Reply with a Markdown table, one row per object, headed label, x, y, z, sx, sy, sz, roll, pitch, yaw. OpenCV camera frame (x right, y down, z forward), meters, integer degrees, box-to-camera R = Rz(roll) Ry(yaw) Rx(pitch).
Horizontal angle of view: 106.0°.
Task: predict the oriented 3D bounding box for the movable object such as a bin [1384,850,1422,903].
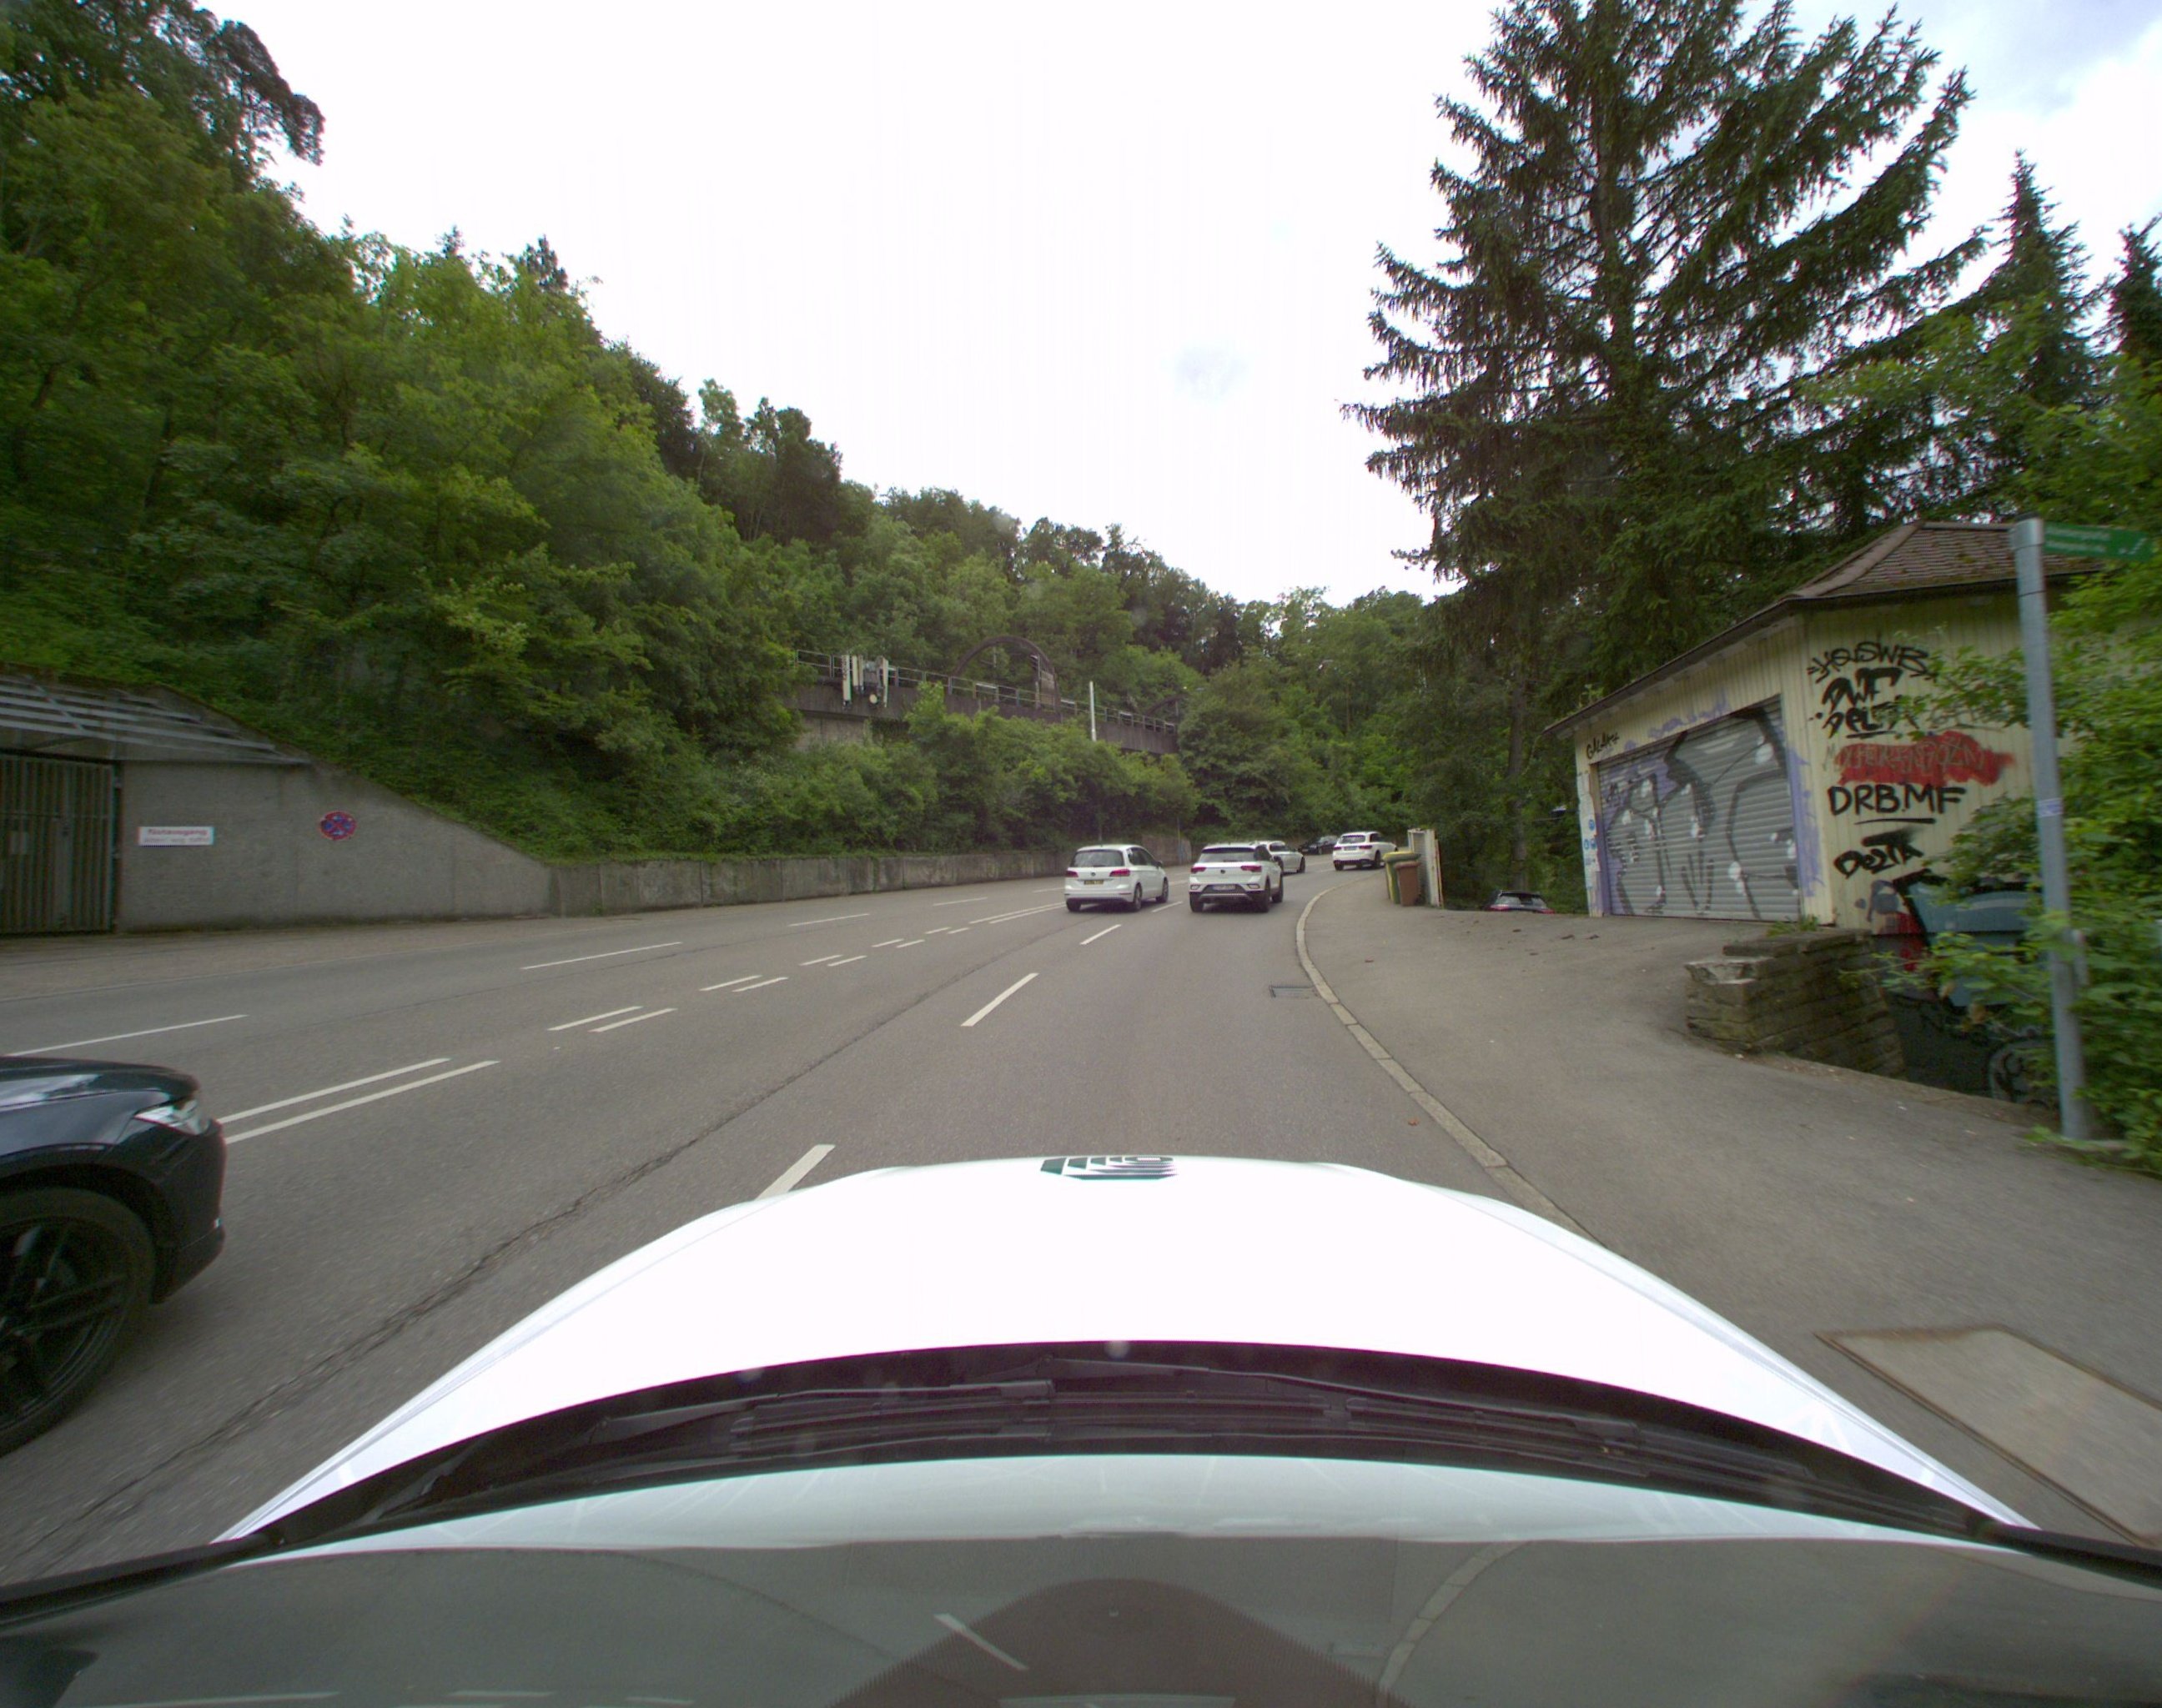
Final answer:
| label | x | y | z | sx | sy | sz | roll | pitch | yaw |
| --- | --- | --- | --- | --- | --- | --- | --- | --- | --- |
| movable object such as a bin | 6.939 | 0.485 | 17.549 | 0.599 | 1.060 | 0.481 | -6 | 1 | 12 |

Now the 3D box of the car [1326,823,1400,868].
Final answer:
| label | x | y | z | sx | sy | sz | roll | pitch | yaw |
| --- | --- | --- | --- | --- | --- | --- | --- | --- | --- |
| car | 12.588 | -0.299 | 36.212 | 1.974 | 1.843 | 4.176 | -1 | -2 | 35 |

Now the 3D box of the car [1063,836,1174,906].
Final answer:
| label | x | y | z | sx | sy | sz | roll | pitch | yaw |
| --- | --- | --- | --- | --- | --- | --- | --- | --- | --- |
| car | 1.067 | 0.471 | 20.550 | 1.706 | 1.555 | 4.294 | 0 | -2 | 18 |

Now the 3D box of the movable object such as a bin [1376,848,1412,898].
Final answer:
| label | x | y | z | sx | sy | sz | roll | pitch | yaw |
| --- | --- | --- | --- | --- | --- | --- | --- | --- | --- |
| movable object such as a bin | 7.161 | 0.428 | 18.651 | 0.599 | 1.060 | 0.481 | -6 | 1 | 12 |

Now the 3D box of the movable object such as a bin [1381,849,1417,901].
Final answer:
| label | x | y | z | sx | sy | sz | roll | pitch | yaw |
| --- | --- | --- | --- | --- | --- | --- | --- | --- | --- |
| movable object such as a bin | 7.069 | 0.467 | 18.113 | 0.599 | 1.060 | 0.481 | -6 | 1 | 12 |

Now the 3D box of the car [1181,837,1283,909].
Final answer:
| label | x | y | z | sx | sy | sz | roll | pitch | yaw |
| --- | --- | --- | --- | --- | --- | --- | --- | --- | --- |
| car | 3.747 | 0.483 | 19.678 | 1.799 | 1.539 | 4.027 | -1 | -2 | 19 |

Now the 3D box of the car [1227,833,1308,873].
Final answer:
| label | x | y | z | sx | sy | sz | roll | pitch | yaw |
| --- | --- | --- | --- | --- | --- | --- | --- | --- | --- |
| car | 7.904 | -0.030 | 34.111 | 1.974 | 1.557 | 4.710 | -1 | 0 | 30 |

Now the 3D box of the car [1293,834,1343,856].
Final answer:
| label | x | y | z | sx | sy | sz | roll | pitch | yaw |
| --- | --- | --- | --- | --- | --- | --- | --- | --- | --- |
| car | 17.553 | -0.669 | 60.241 | 1.890 | 1.486 | 4.024 | -2 | 0 | 43 |

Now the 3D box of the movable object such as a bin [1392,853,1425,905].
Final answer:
| label | x | y | z | sx | sy | sz | roll | pitch | yaw |
| --- | --- | --- | --- | --- | --- | --- | --- | --- | --- |
| movable object such as a bin | 6.846 | 0.522 | 17.024 | 0.496 | 1.008 | 0.441 | -6 | 1 | 13 |

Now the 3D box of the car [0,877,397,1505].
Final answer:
| label | x | y | z | sx | sy | sz | roll | pitch | yaw |
| --- | --- | --- | --- | --- | --- | --- | --- | --- | --- |
| car | -3.717 | 0.751 | 0.625 | 1.928 | 1.577 | 5.027 | 1 | -3 | 1 |

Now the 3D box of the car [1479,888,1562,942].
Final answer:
| label | x | y | z | sx | sy | sz | roll | pitch | yaw |
| --- | --- | --- | --- | --- | --- | --- | --- | --- | --- |
| car | 12.688 | 1.761 | 23.719 | 1.711 | 1.400 | 4.020 | 0 | -4 | 22 |
